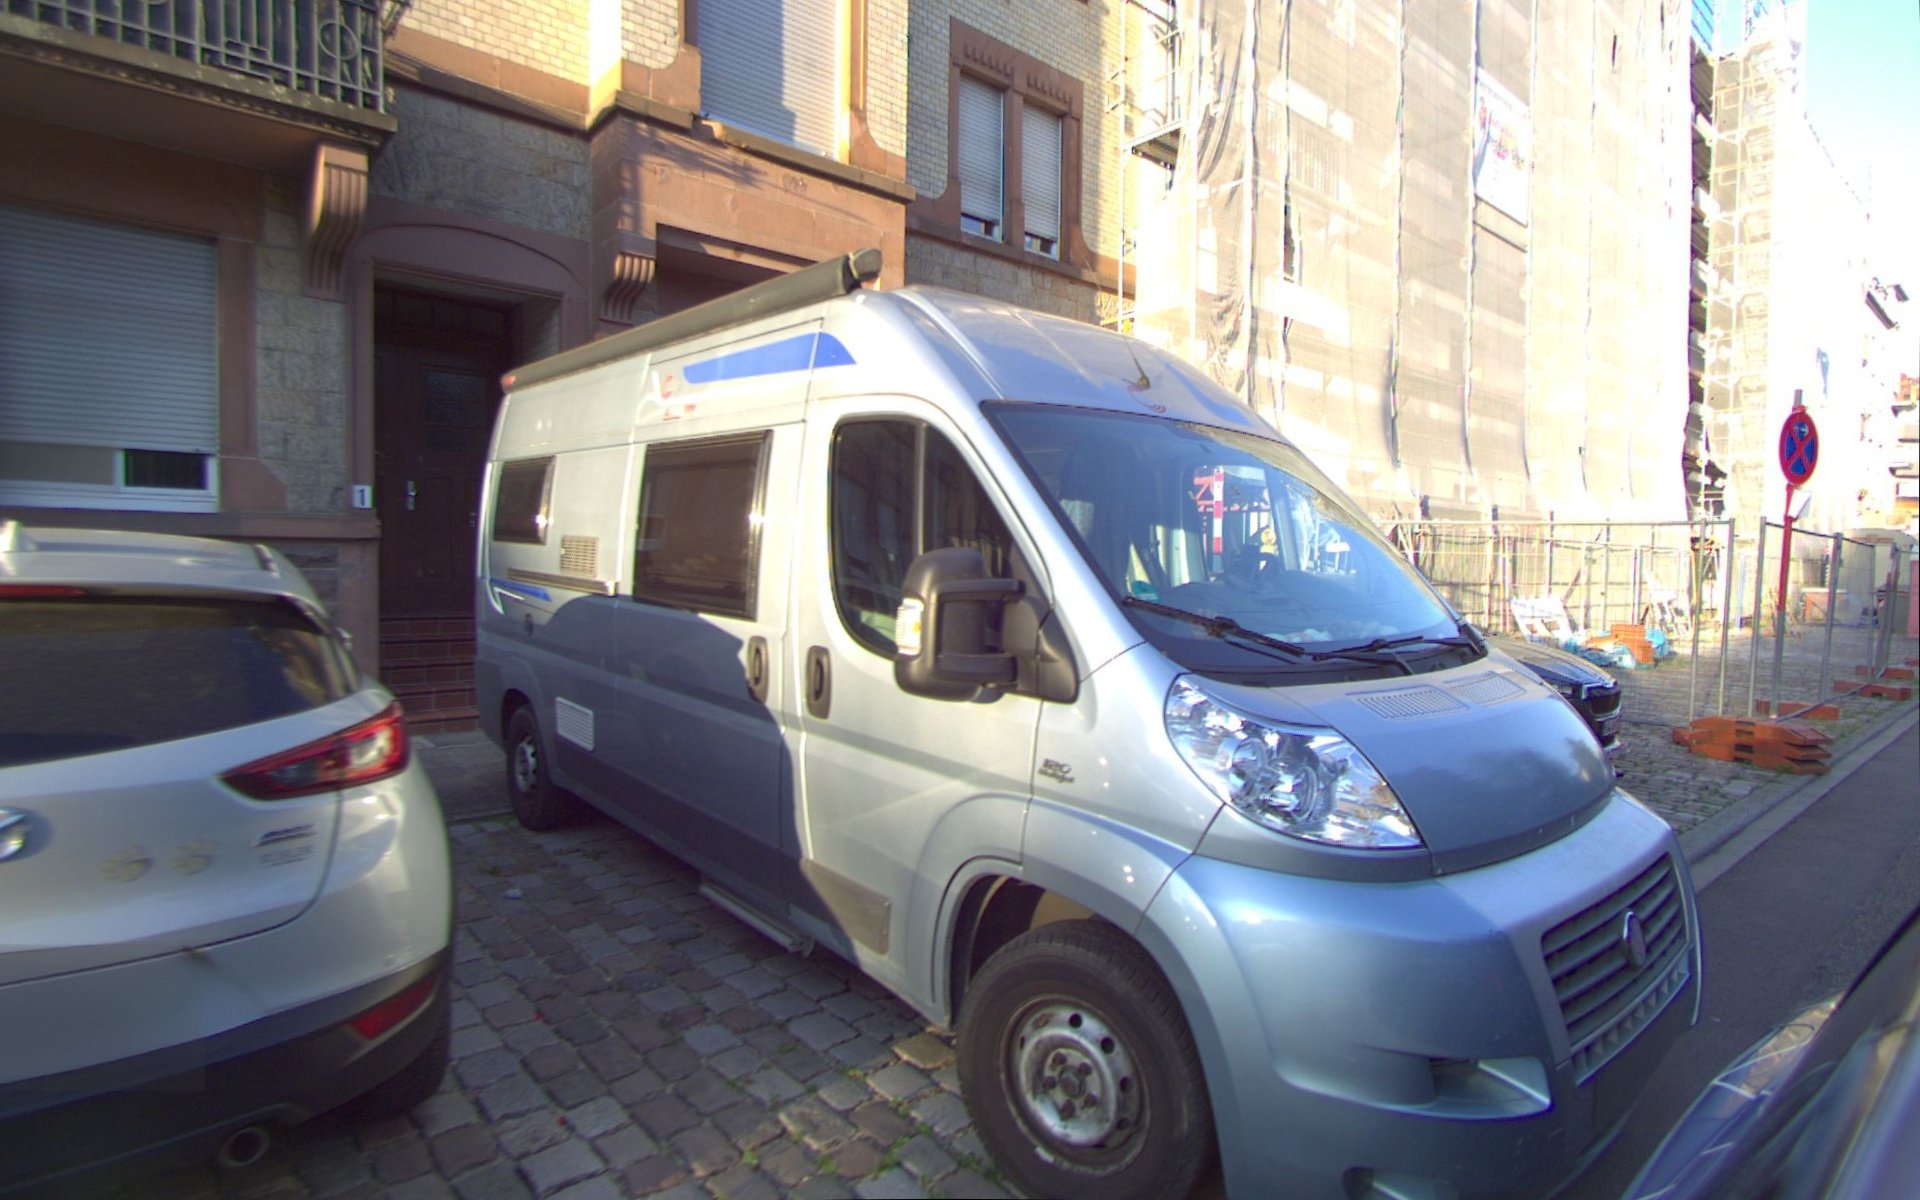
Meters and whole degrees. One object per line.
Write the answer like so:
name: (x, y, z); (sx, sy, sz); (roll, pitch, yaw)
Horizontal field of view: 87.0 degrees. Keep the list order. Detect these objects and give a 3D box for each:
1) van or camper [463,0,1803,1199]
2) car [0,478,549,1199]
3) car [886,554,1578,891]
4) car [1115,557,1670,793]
van or camper: (-0.357, -0.016, 4.576); (2.014, 2.534, 6.074); (-1, 4, -40)
car: (-3.004, 0.479, 3.371); (1.813, 1.637, 4.416); (-4, 6, -39)
car: (1.412, 0.461, 6.855); (1.655, 1.457, 4.416); (-2, 4, -38)
car: (3.431, 0.404, 8.676); (1.657, 1.458, 4.056); (-3, 5, -41)
